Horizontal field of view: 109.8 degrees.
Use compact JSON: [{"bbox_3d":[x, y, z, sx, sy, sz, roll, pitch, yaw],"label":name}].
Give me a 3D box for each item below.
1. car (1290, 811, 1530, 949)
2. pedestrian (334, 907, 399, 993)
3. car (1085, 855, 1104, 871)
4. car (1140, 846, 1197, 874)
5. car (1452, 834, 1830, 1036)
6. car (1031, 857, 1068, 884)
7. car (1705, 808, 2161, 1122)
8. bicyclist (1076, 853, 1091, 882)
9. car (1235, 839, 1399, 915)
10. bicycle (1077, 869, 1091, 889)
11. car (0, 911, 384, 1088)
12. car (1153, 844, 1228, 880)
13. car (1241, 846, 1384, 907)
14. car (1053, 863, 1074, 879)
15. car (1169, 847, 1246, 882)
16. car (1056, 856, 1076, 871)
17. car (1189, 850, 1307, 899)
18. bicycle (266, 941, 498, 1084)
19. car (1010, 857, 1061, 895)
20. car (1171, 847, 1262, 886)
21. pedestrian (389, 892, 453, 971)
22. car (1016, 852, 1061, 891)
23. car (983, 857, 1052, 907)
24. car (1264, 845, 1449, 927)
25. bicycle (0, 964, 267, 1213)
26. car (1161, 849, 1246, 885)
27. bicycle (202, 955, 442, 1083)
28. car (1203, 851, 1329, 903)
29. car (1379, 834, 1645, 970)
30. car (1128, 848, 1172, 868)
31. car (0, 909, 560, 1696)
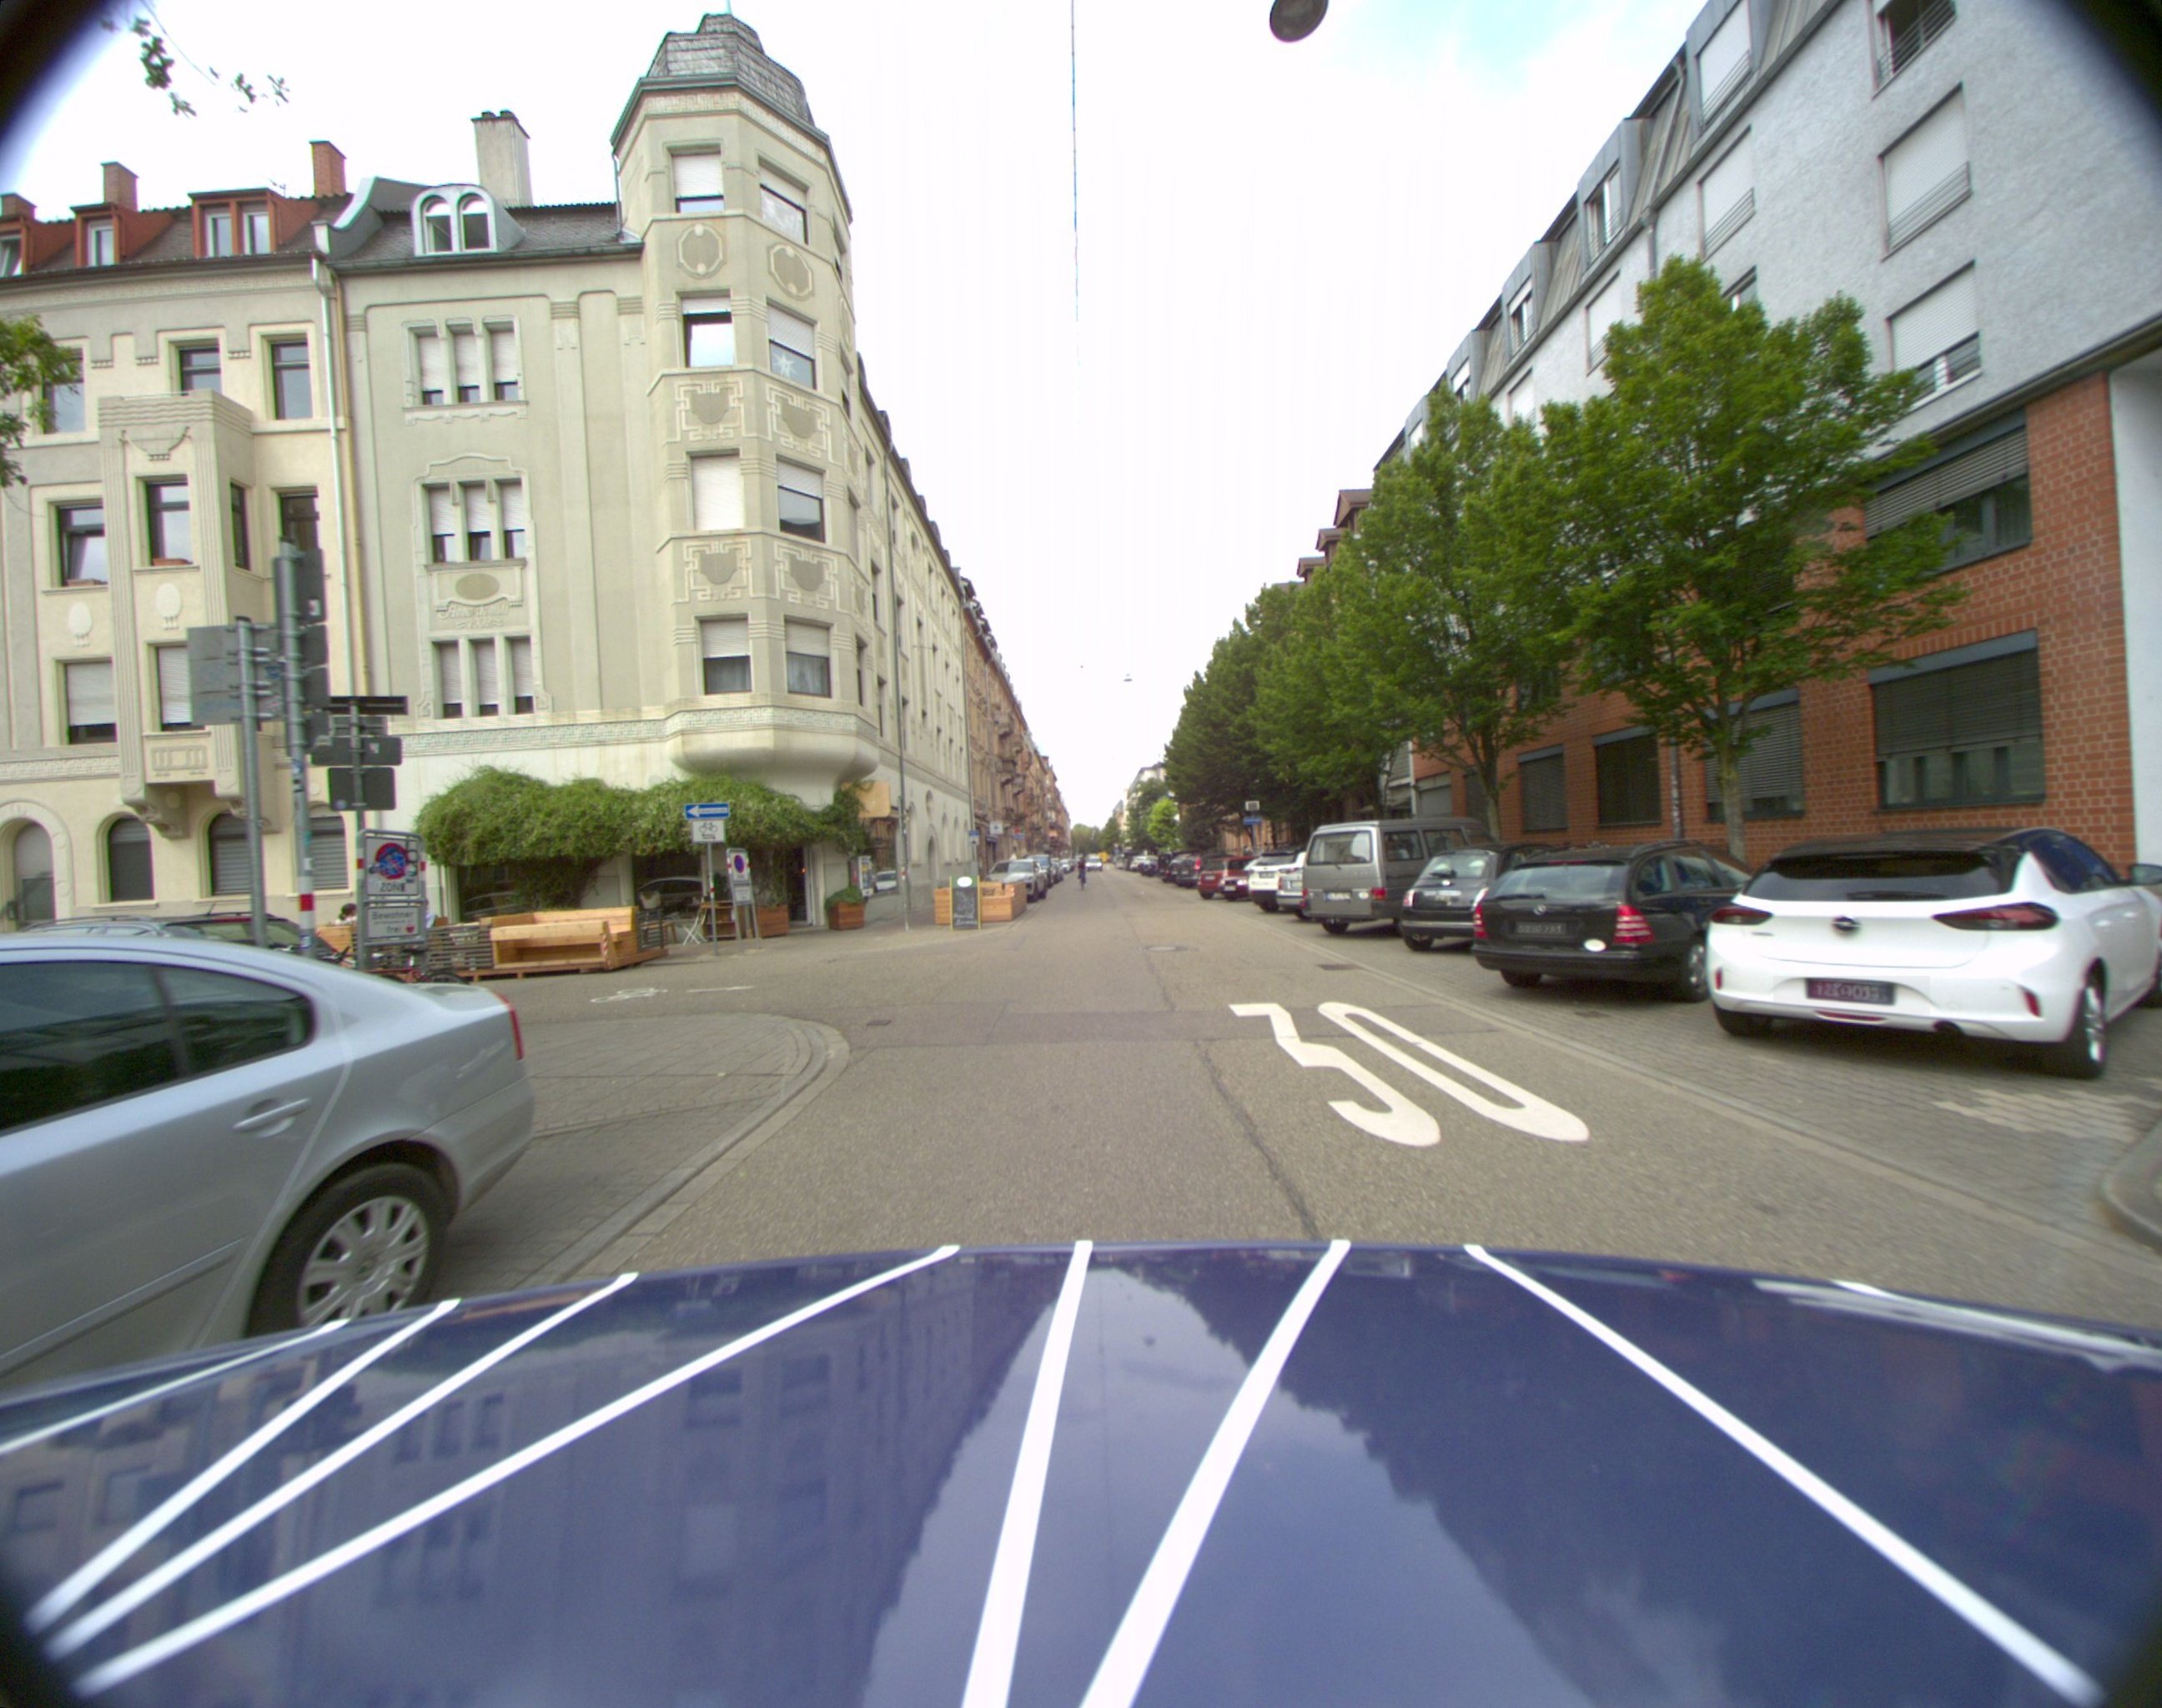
[{"bbox_3d":[5.972,0.370,13.720,4.011,1.986,1.858,-5,1,-30],"label":"car"},{"bbox_3d":[-12.900,1.714,13.726,0.548,1.460,0.560,-3,1,2],"label":"pedestrian"},{"bbox_3d":[1.723,1.081,93.423,1.942,1.913,4.007,-4,0,5],"label":"car"},{"bbox_3d":[6.617,0.418,57.250,4.012,1.847,1.688,-3,0,-33],"label":"car"},{"bbox_3d":[5.966,0.635,7.937,4.323,1.460,1.713,-3,1,-33],"label":"car"},{"bbox_3d":[-2.001,1.034,49.612,1.853,1.568,4.007,-4,0,5],"label":"car"},{"bbox_3d":[6.474,0.522,5.574,4.011,1.536,1.599,-3,1,-30],"label":"car"},{"bbox_3d":[0.127,0.677,38.796,0.649,1.408,1.094,-3,1,2],"label":"bicyclist"},{"bbox_3d":[6.028,0.540,19.254,4.012,1.605,1.709,-3,0,-33],"label":"car"},{"bbox_3d":[0.157,1.279,38.709,0.586,0.927,1.783,-4,0,2],"label":"bicycle"},{"bbox_3d":[-10.327,1.515,8.259,4.031,1.460,1.910,-3,0,10],"label":"car"},{"bbox_3d":[6.382,0.456,44.091,4.051,1.847,1.688,-3,0,-33],"label":"car"},{"bbox_3d":[6.810,0.626,22.261,4.012,1.469,1.755,-3,0,-33],"label":"car"},{"bbox_3d":[-1.770,1.745,78.394,1.853,1.505,4.007,-4,0,3],"label":"car"},{"bbox_3d":[6.960,0.553,41.651,4.012,1.672,1.688,-3,0,-33],"label":"car"},{"bbox_3d":[-1.712,1.044,86.997,1.853,1.505,4.007,-4,0,5],"label":"car"},{"bbox_3d":[5.970,0.694,27.014,4.012,1.445,1.688,-3,0,-33],"label":"car"},{"bbox_3d":[-6.743,1.476,7.482,0.523,1.044,1.821,-3,-1,2],"label":"bicycle"},{"bbox_3d":[-2.160,1.033,37.073,1.853,1.661,4.007,-4,0,5],"label":"car"},{"bbox_3d":[6.302,0.576,35.234,4.012,1.558,1.688,-3,0,-33],"label":"car"},{"bbox_3d":[-13.044,1.513,15.036,0.548,1.452,0.634,-3,4,2],"label":"pedestrian"},{"bbox_3d":[-2.286,0.926,42.177,1.853,1.932,4.007,-4,0,5],"label":"car"},{"bbox_3d":[-2.335,0.987,28.932,1.853,1.661,4.007,-4,0,5],"label":"car"},{"bbox_3d":[6.050,0.642,16.563,4.012,1.438,1.622,-3,0,-33],"label":"car"},{"bbox_3d":[-5.795,1.296,4.126,0.523,1.099,1.978,-3,0,2],"label":"bicycle"},{"bbox_3d":[6.115,0.639,37.805,4.012,1.558,1.688,-3,0,-33],"label":"car"},{"bbox_3d":[-7.503,1.585,7.653,0.523,0.911,1.821,-3,-1,2],"label":"bicycle"},{"bbox_3d":[6.059,0.733,24.801,4.012,1.381,1.593,-3,0,-33],"label":"car"},{"bbox_3d":[6.452,0.602,11.249,4.011,1.502,1.706,-4,0,-33],"label":"car"},{"bbox_3d":[6.836,0.411,75.359,4.012,1.746,1.688,-3,0,-33],"label":"car"},{"bbox_3d":[-3.073,0.997,0.942,1.759,1.460,4.418,-3,0,0],"label":"car"}]
